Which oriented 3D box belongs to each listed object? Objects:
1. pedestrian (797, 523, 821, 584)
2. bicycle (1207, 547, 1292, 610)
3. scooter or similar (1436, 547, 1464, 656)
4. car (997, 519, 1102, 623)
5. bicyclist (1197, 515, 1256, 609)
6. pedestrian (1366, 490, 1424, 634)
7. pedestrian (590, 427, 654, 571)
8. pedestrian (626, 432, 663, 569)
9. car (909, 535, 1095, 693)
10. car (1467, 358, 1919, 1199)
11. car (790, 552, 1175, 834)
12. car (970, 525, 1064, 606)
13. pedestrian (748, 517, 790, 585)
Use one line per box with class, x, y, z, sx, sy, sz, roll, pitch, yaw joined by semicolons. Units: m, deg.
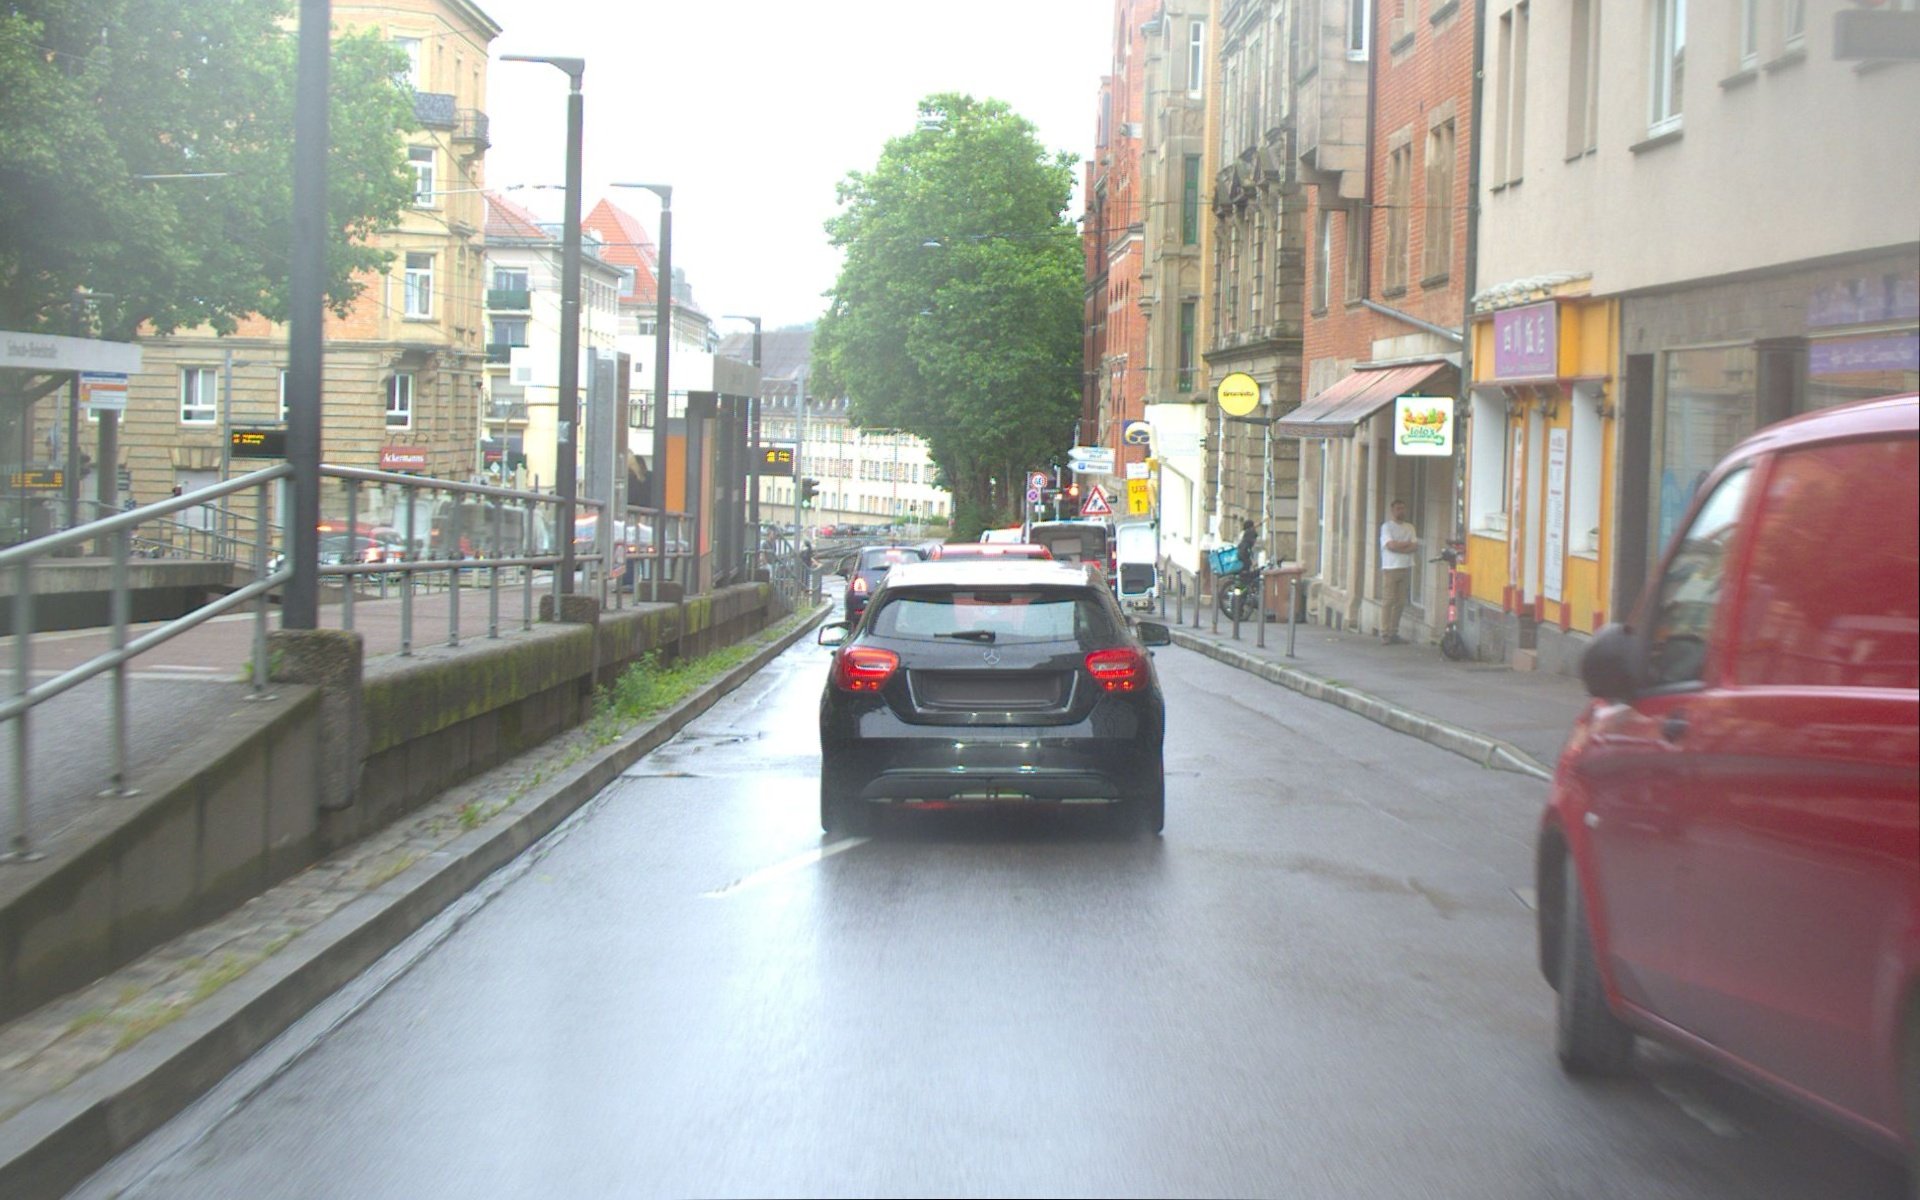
pedestrian;-3.826;-1.187;87.295;0.531;1.525;0.437;1;1;-8
bicycle;5.148;-0.389;61.070;1.684;1.111;0.464;-1;1;-41
scooter or similar;5.596;0.007;39.248;0.257;1.217;1.194;2;1;9
car;1.716;-0.601;67.349;1.921;1.929;4.685;1;1;0
bicyclist;4.758;-0.679;61.381;0.848;1.651;0.631;-1;1;-41
pedestrian;5.606;-0.490;44.349;0.577;1.824;0.564;-2;0;-3
pedestrian;-3.795;-1.131;38.615;0.496;1.599;0.636;1;1;16
pedestrian;-3.734;-1.174;40.652;0.409;1.599;0.450;1;1;-6
car;0.382;0.102;35.047;1.679;1.484;3.613;0;1;-3
car;2.658;0.455;7.901;1.975;1.832;5.246;1;1;-2
car;0.114;0.445;18.963;1.895;1.385;4.000;0;0;0
car;1.347;-0.854;83.123;1.933;1.825;4.282;1;2;-3
pedestrian;-4.862;-1.243;87.385;0.739;1.718;0.740;0;2;-44
